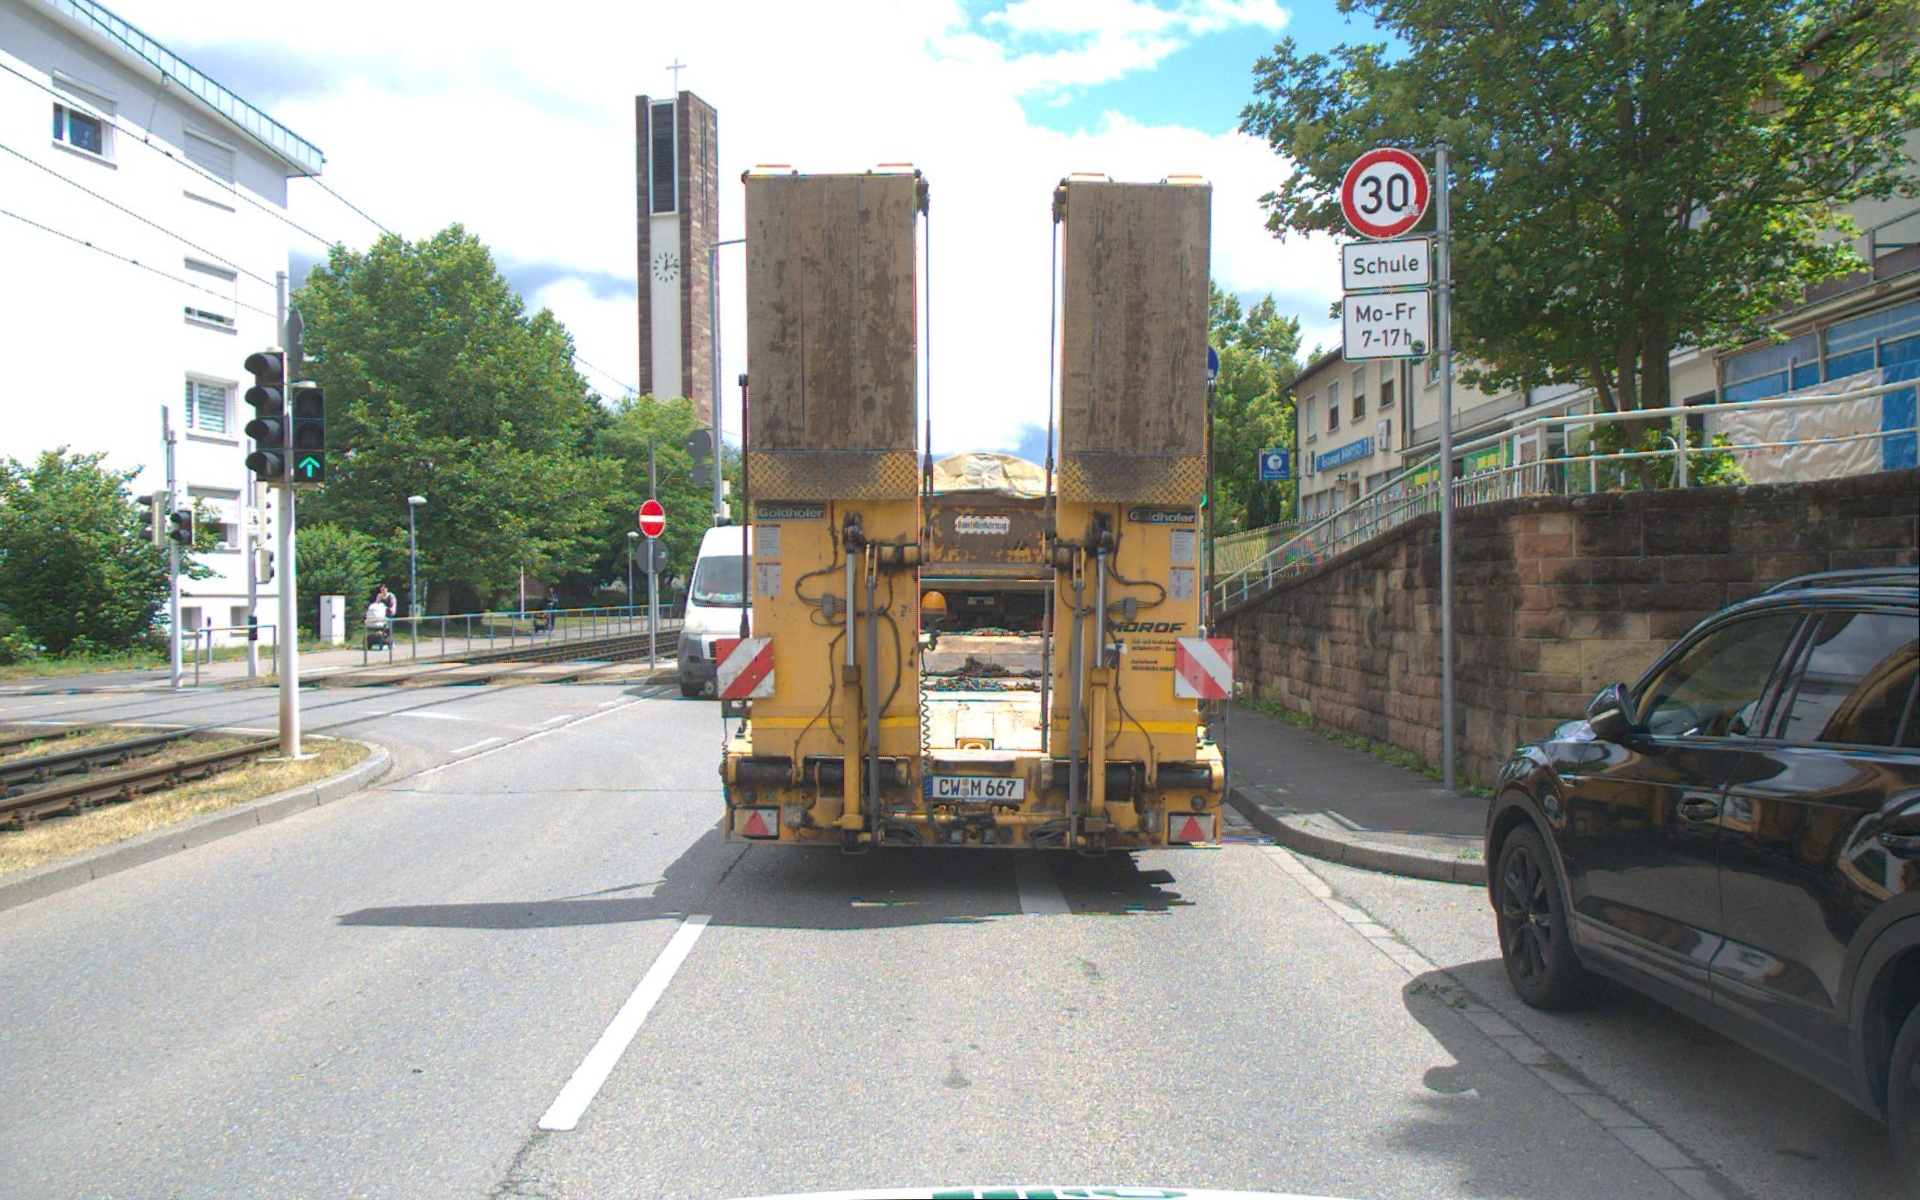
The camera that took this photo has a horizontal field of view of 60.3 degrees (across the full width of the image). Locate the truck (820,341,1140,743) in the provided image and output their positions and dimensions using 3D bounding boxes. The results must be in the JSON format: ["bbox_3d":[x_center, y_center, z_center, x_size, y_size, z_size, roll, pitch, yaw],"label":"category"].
[{"bbox_3d":[0.170,-0.552,17.526,2.882,3.635,4.876,-1,0,0],"label":"truck"}]

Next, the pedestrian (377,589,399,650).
[{"bbox_3d":[-14.707,0.504,42.556,0.341,1.564,0.557,-1,0,2],"label":"pedestrian"}]

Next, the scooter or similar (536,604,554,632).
[{"bbox_3d":[-14.756,0.645,58.806,0.495,0.988,0.645,1,0,-2],"label":"scooter or similar"}]

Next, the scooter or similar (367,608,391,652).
[{"bbox_3d":[-14.729,0.754,41.920,0.331,1.076,0.688,1,0,2],"label":"scooter or similar"}]

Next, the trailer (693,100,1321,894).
[{"bbox_3d":[0.199,-0.515,12.036,2.885,3.664,8.683,-1,0,0],"label":"trailer"}]

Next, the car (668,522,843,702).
[{"bbox_3d":[-2.969,0.151,25.198,1.972,2.401,5.382,1,0,0],"label":"car"}]

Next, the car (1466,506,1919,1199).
[{"bbox_3d":[3.000,0.591,4.740,1.813,1.668,4.000,-2,0,0],"label":"car"}]

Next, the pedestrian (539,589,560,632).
[{"bbox_3d":[-14.751,0.373,59.455,0.552,1.540,0.645,1,0,-2],"label":"pedestrian"}]
